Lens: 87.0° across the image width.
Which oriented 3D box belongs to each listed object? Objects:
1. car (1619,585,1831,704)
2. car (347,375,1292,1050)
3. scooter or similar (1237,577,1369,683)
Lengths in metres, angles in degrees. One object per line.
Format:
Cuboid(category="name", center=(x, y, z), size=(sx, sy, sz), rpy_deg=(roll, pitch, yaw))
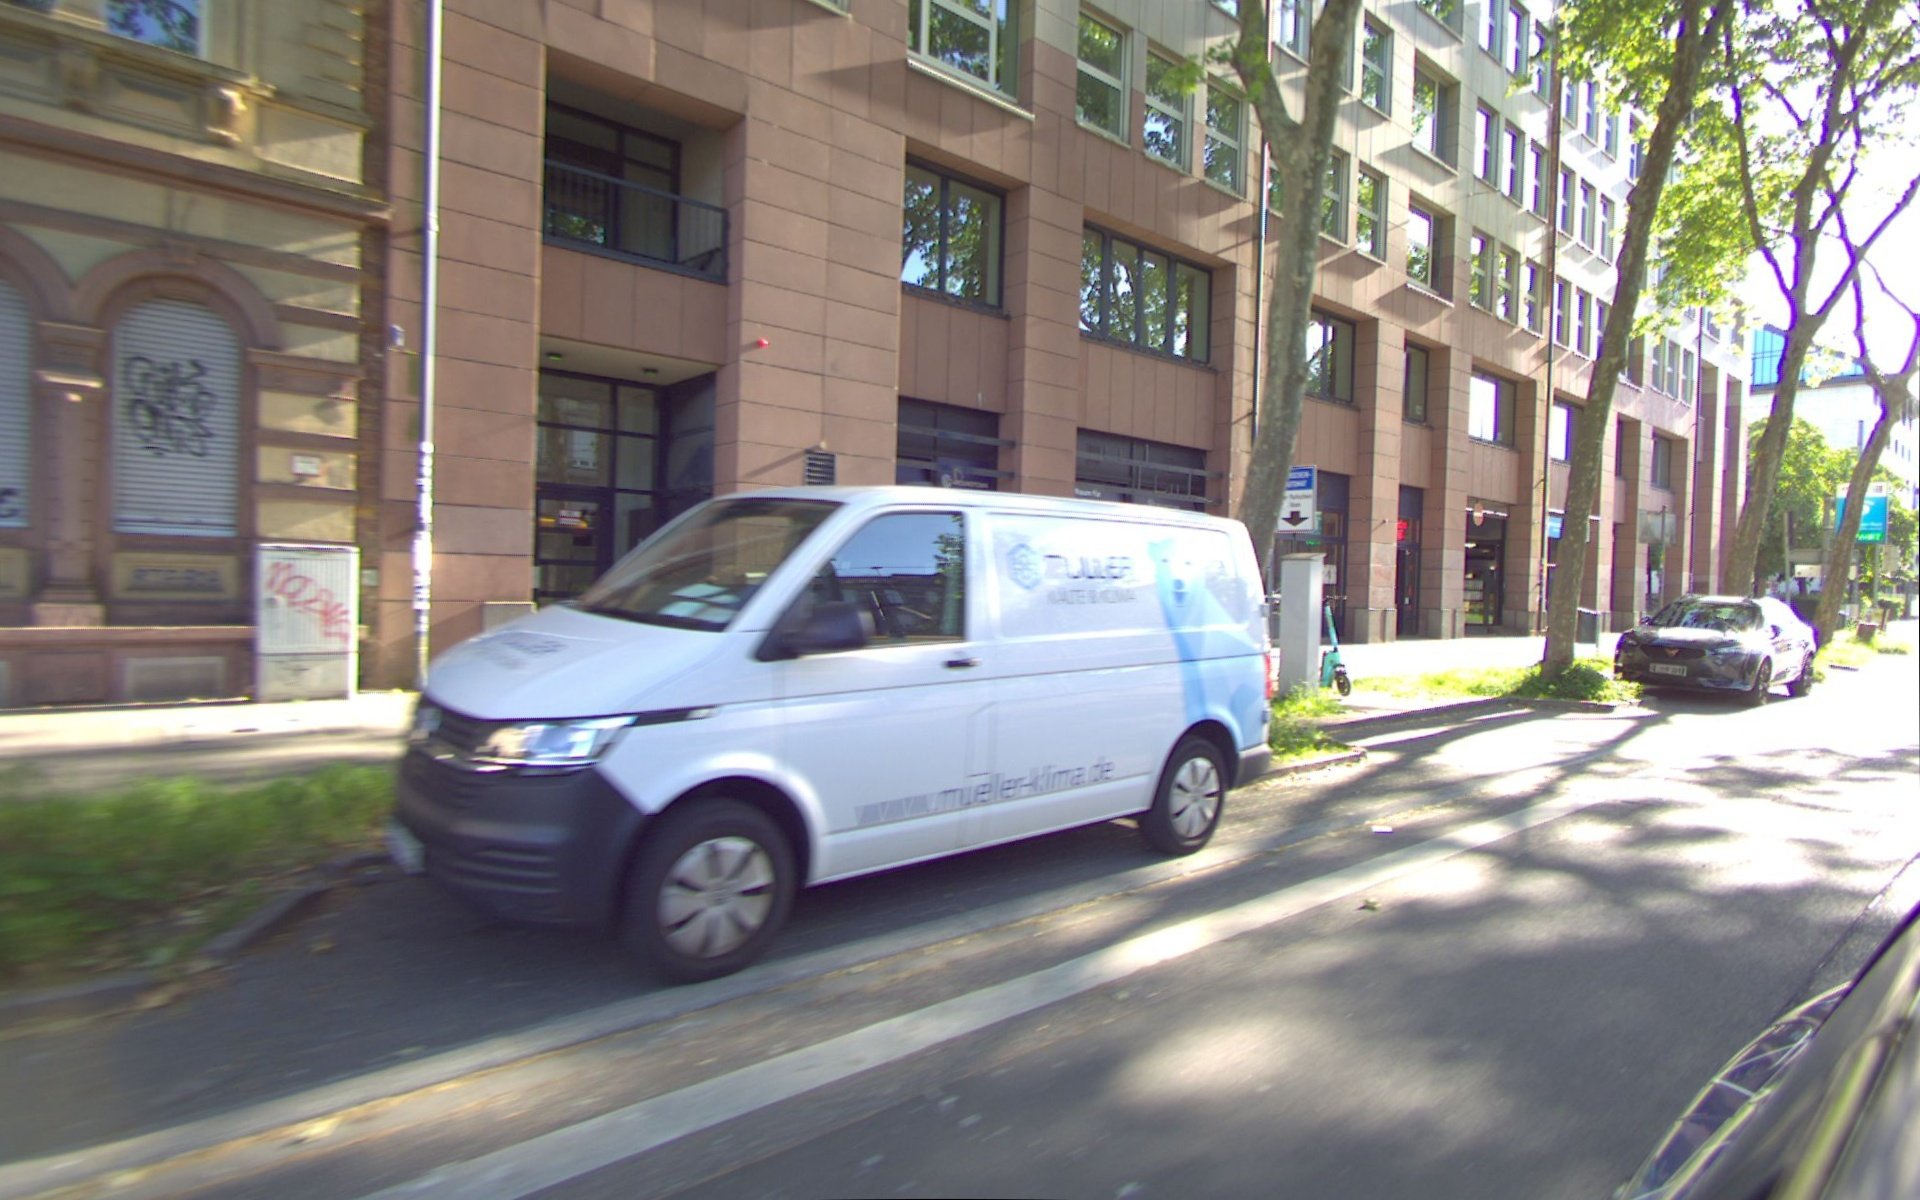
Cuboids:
Cuboid(category="car", center=(11.832, 0.574, 15.552), size=(4.203, 1.590, 1.671), rpy_deg=(-1, 0, -39))
Cuboid(category="car", center=(-0.358, 0.307, 5.292), size=(4.641, 2.039, 1.859), rpy_deg=(-1, 0, -41))
Cuboid(category="scooter or similar", center=(4.328, 0.349, 12.846), size=(0.441, 1.253, 1.544), rpy_deg=(3, -1, -39))
